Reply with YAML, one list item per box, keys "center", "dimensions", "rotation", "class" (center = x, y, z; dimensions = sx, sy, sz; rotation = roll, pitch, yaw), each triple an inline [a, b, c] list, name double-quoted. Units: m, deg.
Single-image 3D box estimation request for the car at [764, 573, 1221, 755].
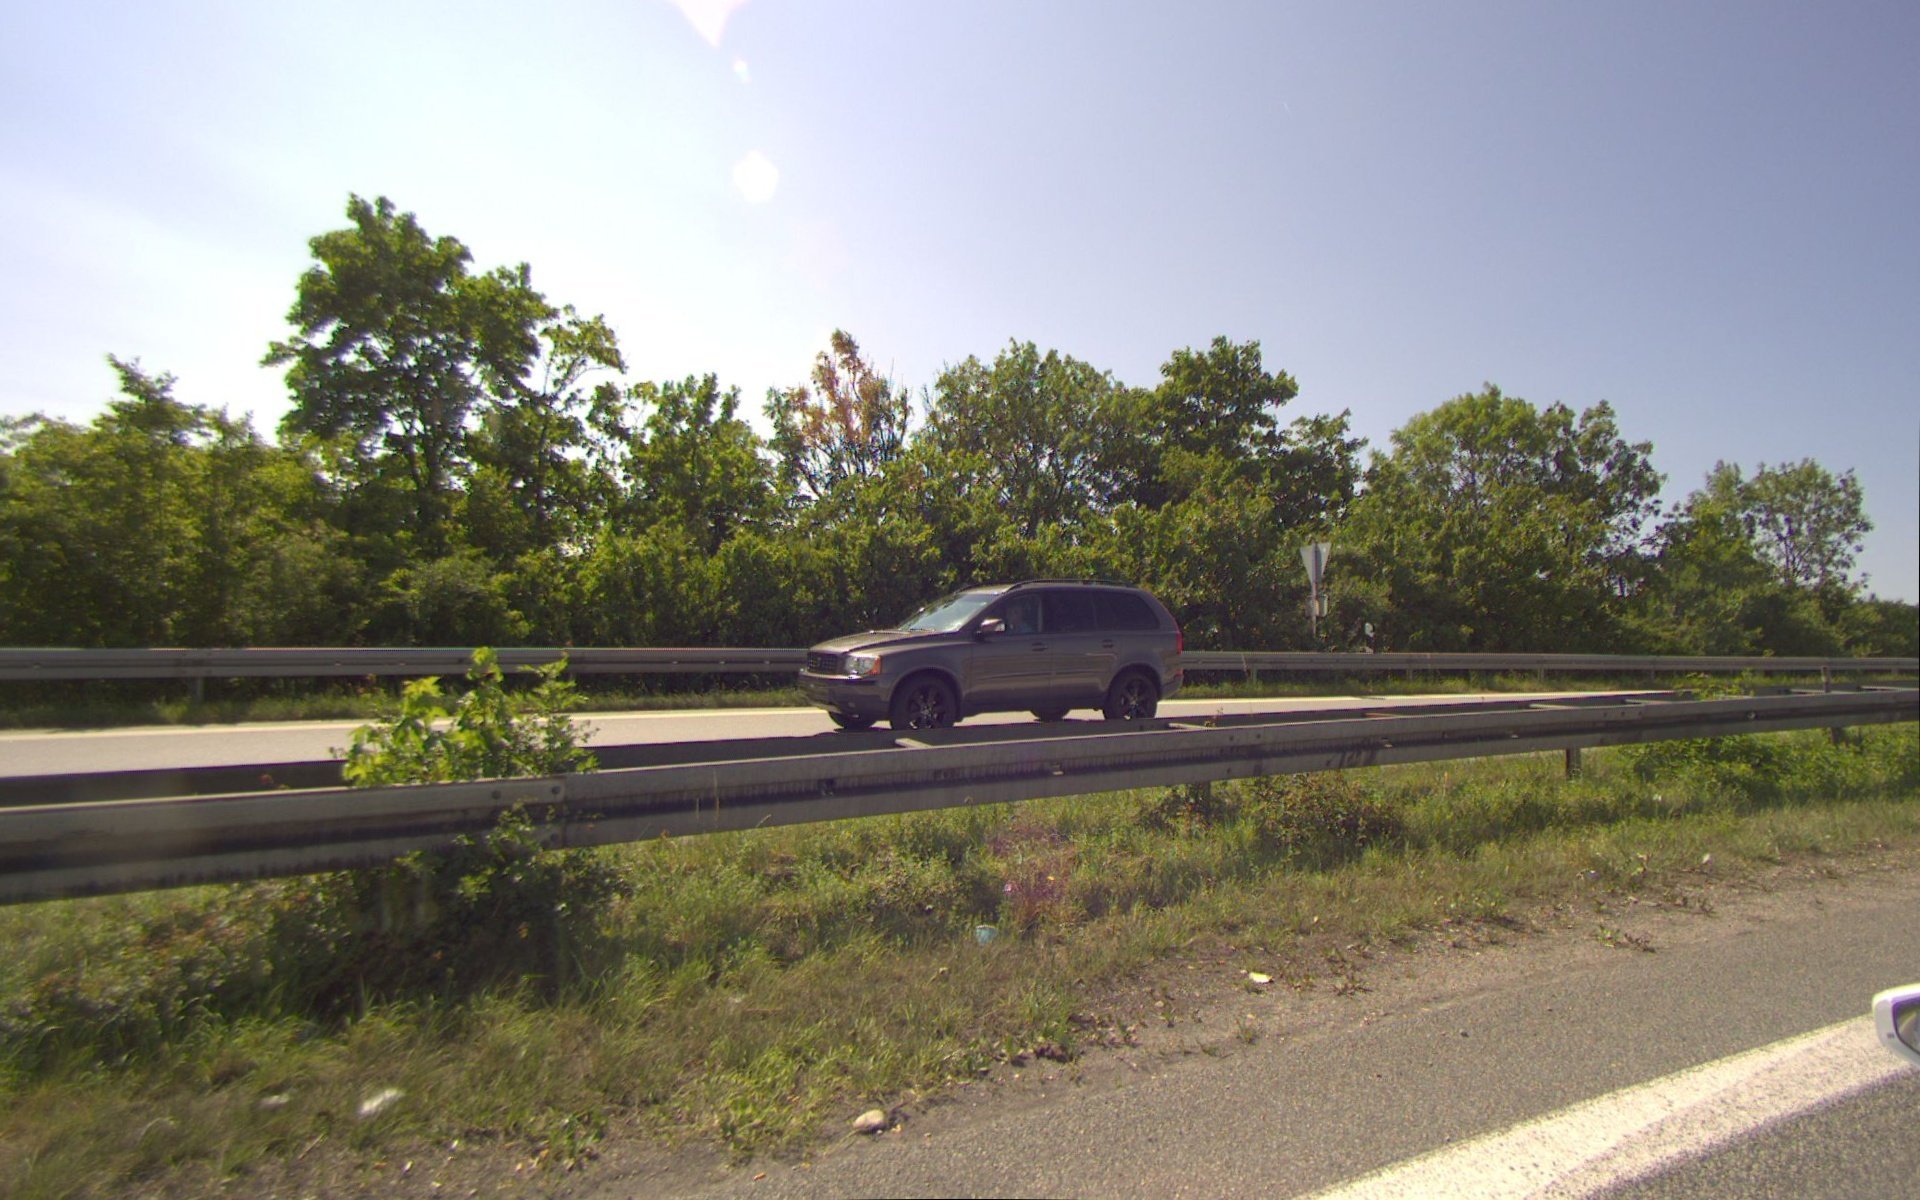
- center: [0.484, 0.673, 11.842]
  dimensions: [5.137, 1.754, 1.984]
  rotation: [1, -1, -31]
  class: "car"
